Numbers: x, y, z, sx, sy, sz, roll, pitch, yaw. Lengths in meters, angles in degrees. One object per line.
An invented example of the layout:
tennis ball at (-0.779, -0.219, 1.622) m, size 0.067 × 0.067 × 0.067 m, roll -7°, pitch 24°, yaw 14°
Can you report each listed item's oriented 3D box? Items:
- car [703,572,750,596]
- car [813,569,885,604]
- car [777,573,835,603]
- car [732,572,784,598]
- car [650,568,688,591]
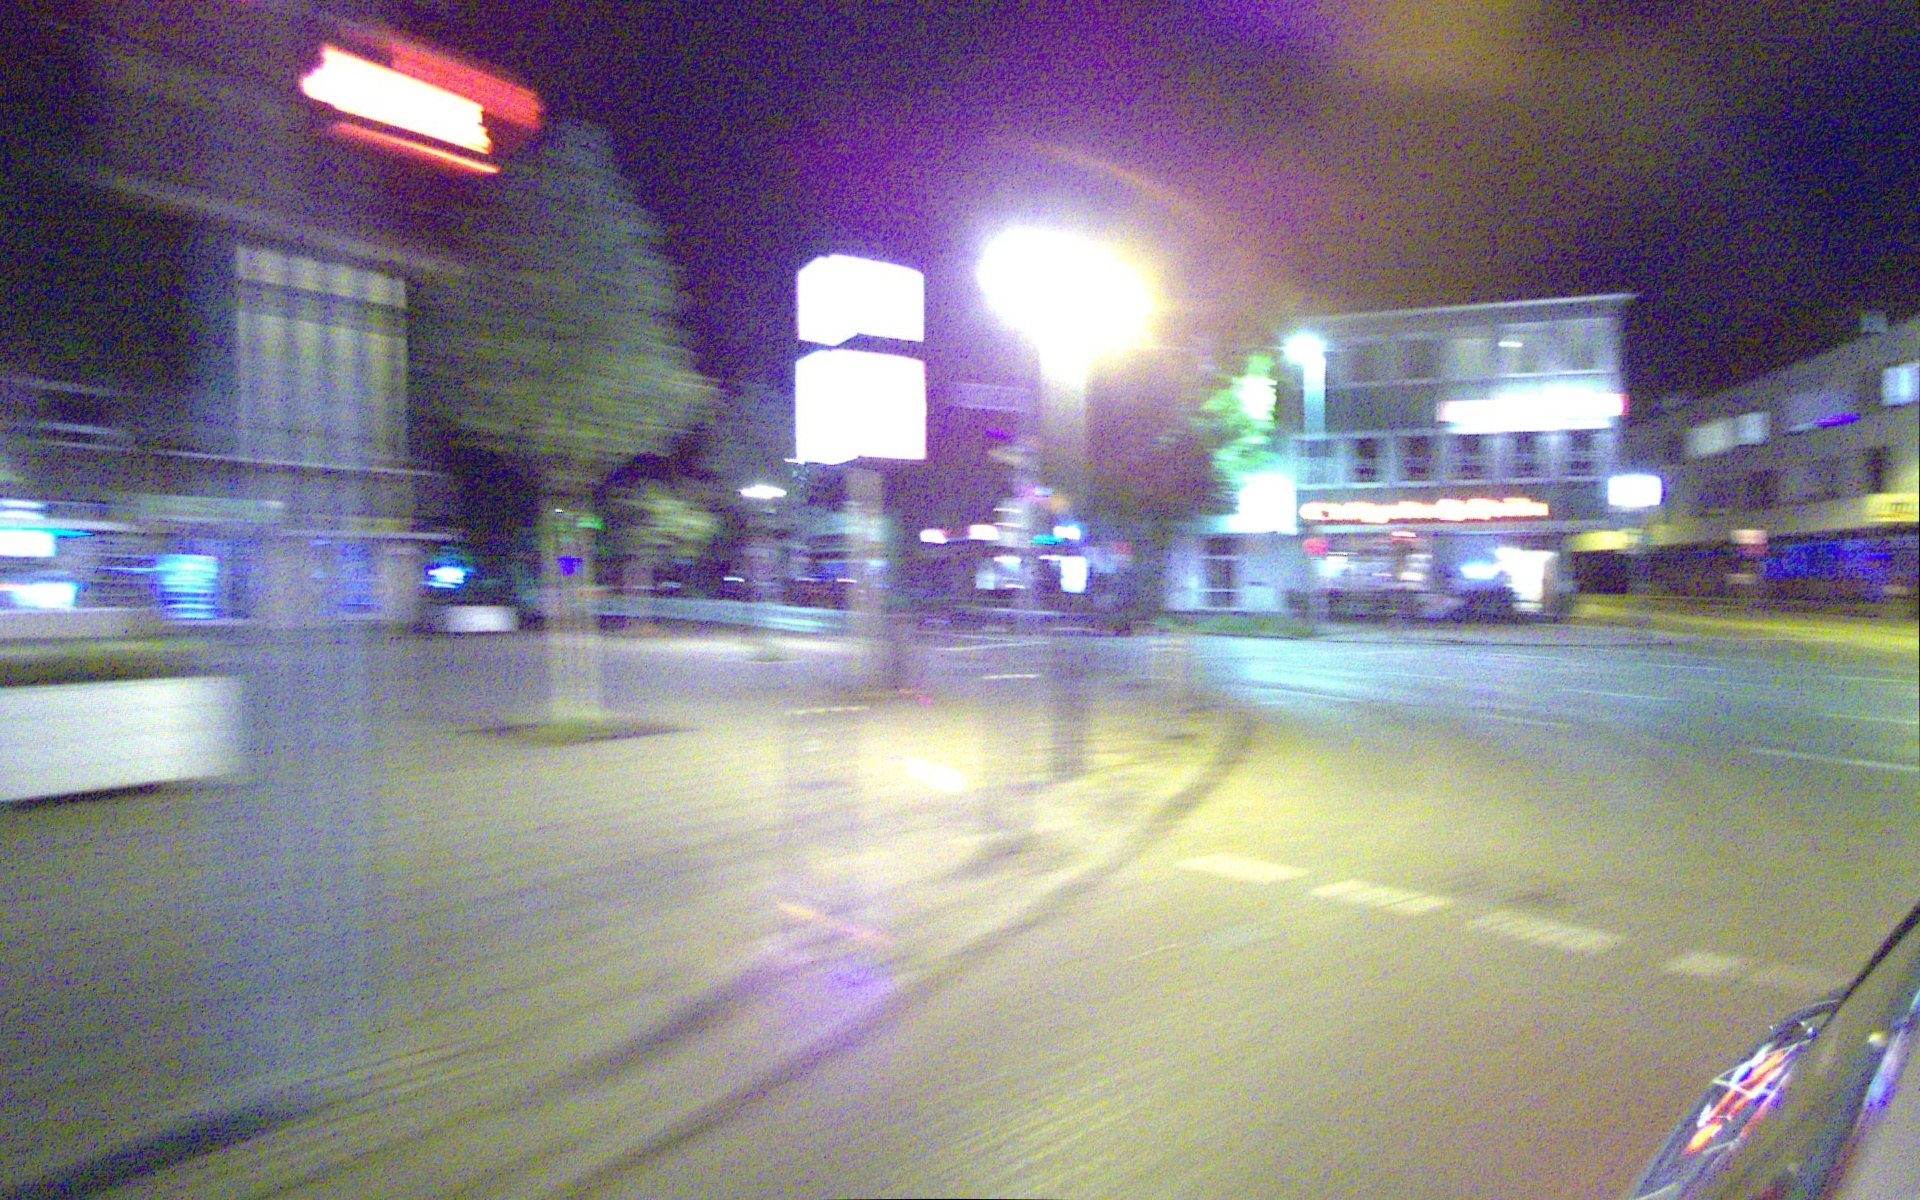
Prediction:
car at (-15.093, -1.054, 65.373) m, size 1.857 × 1.471 × 3.899 m, roll 1°, pitch 1°, yaw -31°
car at (-5.576, -0.687, 50.565) m, size 1.840 × 1.674 × 3.861 m, roll 1°, pitch 1°, yaw -38°
car at (-8.336, -0.663, 54.559) m, size 1.856 × 1.471 × 3.901 m, roll 1°, pitch 1°, yaw -28°
car at (-12.229, -0.910, 60.970) m, size 1.857 × 1.471 × 3.899 m, roll 1°, pitch 1°, yaw -31°
car at (-21.968, -1.573, 76.270) m, size 1.972 × 1.646 × 3.901 m, roll 1°, pitch 1°, yaw -28°
